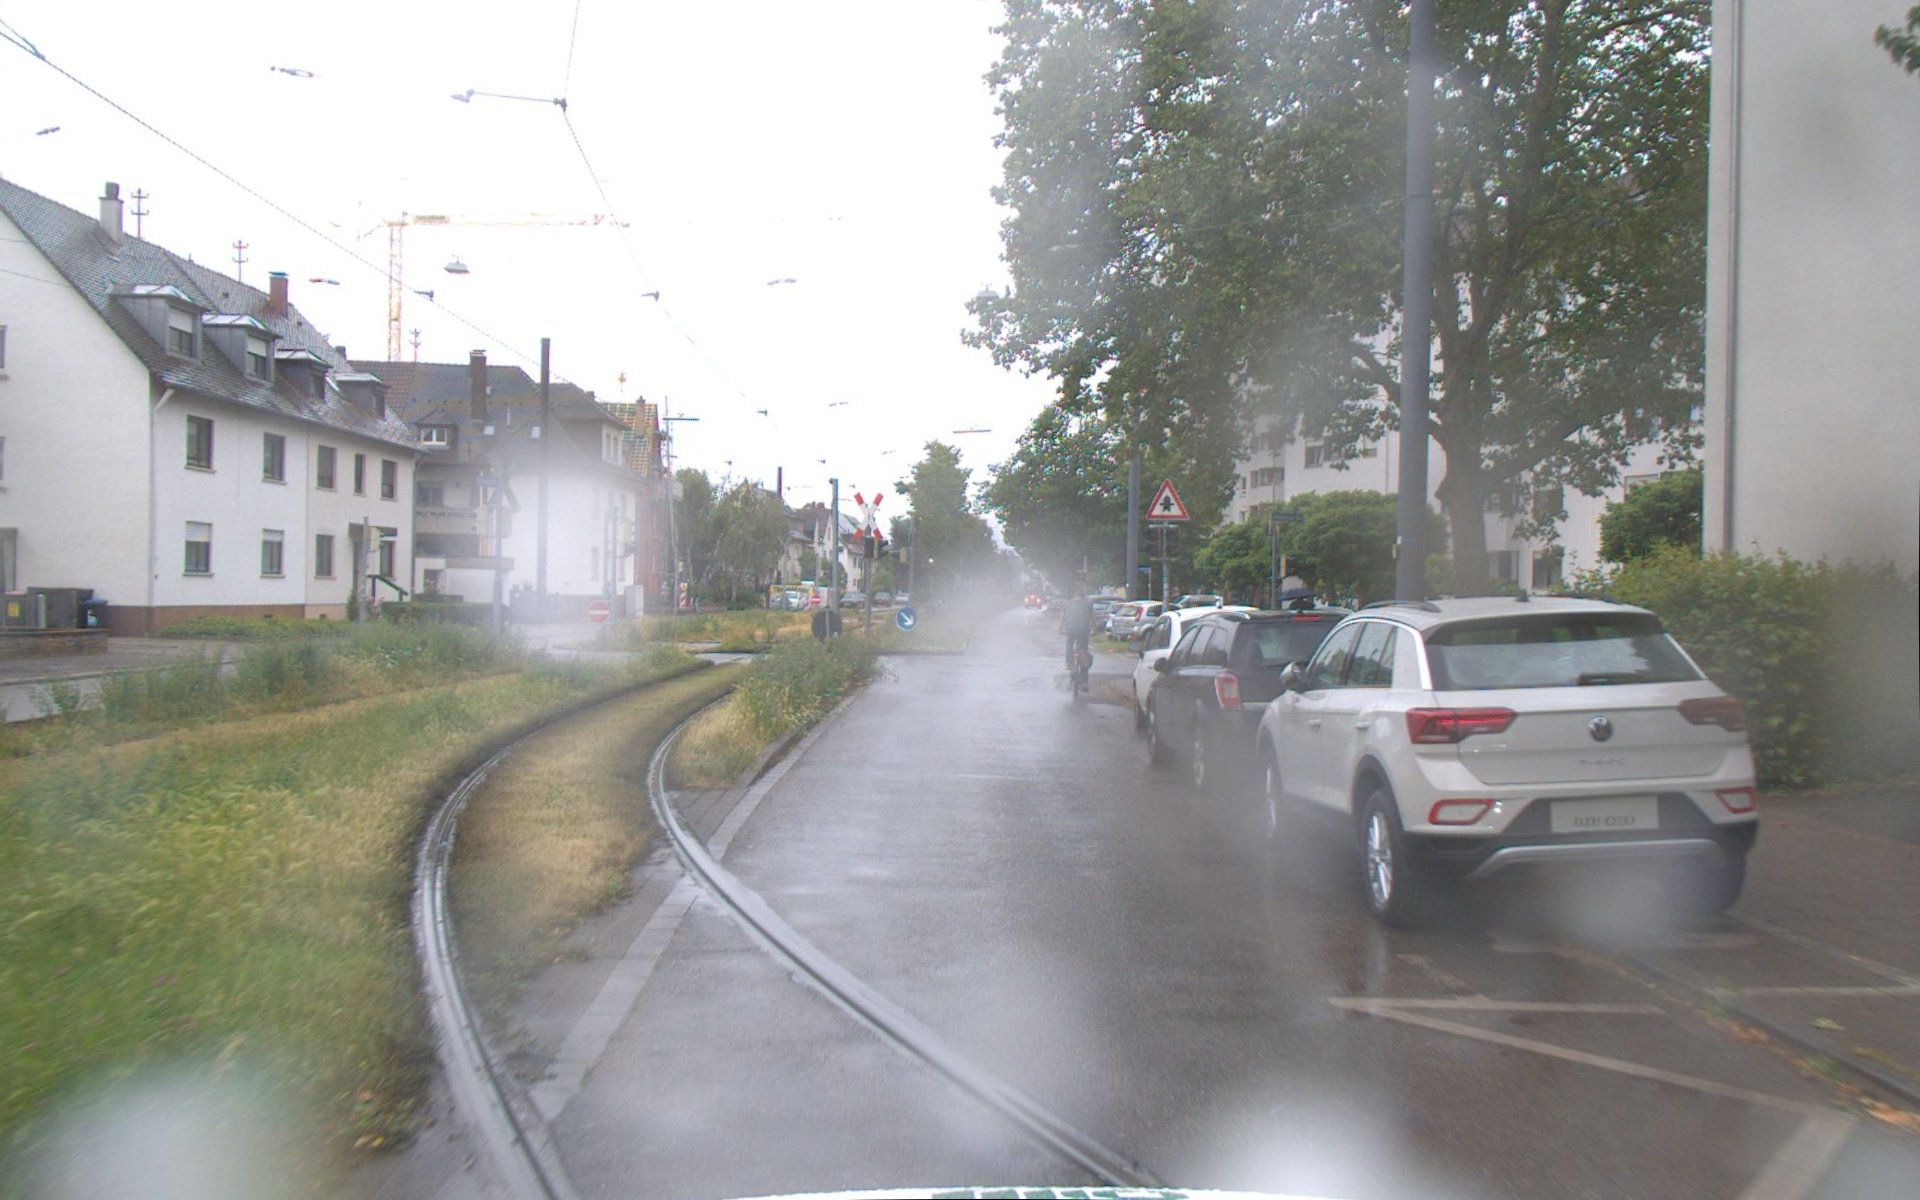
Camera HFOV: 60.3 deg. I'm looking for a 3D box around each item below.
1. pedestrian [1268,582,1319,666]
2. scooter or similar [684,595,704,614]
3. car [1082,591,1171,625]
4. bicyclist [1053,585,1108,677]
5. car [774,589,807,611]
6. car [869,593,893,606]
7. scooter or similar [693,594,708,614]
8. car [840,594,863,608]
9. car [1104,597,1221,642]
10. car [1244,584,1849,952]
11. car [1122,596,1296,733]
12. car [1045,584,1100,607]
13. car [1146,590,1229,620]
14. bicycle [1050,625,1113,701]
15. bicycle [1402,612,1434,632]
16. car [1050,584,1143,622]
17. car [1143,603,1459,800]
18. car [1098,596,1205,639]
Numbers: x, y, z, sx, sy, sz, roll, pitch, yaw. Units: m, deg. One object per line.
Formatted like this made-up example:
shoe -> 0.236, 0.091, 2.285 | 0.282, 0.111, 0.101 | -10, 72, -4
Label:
pedestrian -> 7.574, 0.535, 37.576 | 1.076, 1.845, 1.435 | 1, 0, 11
scooter or similar -> -15.792, 0.279, 98.095 | 0.432, 1.149, 1.280 | 1, 0, 32
car -> 7.443, 0.333, 73.776 | 3.962, 1.454, 1.710 | 0, 0, -40
bicyclist -> 1.941, 0.489, 26.759 | 0.793, 1.458, 1.060 | 0, 0, -1
car -> -13.000, 0.016, 127.077 | 1.674, 1.569, 4.424 | 3, 0, 4
car -> -8.707, -0.044, 182.245 | 1.856, 1.266, 4.690 | 3, 0, 6
scooter or similar -> -15.898, 0.220, 101.202 | 0.385, 1.201, 1.283 | 1, 0, 17
car -> -10.239, 0.083, 156.369 | 1.629, 1.266, 4.073 | 3, 0, 3
car -> 7.176, 0.691, 58.485 | 3.953, 1.534, 1.762 | 0, -2, -35
car -> 2.925, 0.725, 9.293 | 1.861, 1.602, 4.110 | 0, 0, -2
car -> 3.026, 0.726, 20.771 | 1.526, 1.545, 3.999 | 0, 0, -1
car -> 9.247, -0.408, 135.680 | 4.090, 1.749, 1.981 | -2, 1, -29
car -> 14.099, 0.320, 102.654 | 4.720, 1.776, 1.994 | 1, 0, -13
bicycle -> 1.943, 0.988, 26.776 | 0.793, 1.116, 2.517 | 0, 0, -1
bicycle -> 19.760, 0.942, 71.398 | 0.483, 0.862, 1.560 | 0, 0, -24
car -> 6.360, 0.125, 76.743 | 4.308, 1.680, 1.831 | 0, 0, -40
car -> 2.847, 0.783, 14.756 | 1.861, 1.474, 4.183 | 0, 0, -2
car -> 7.172, 0.646, 61.832 | 3.959, 1.534, 1.682 | 0, -2, -38
